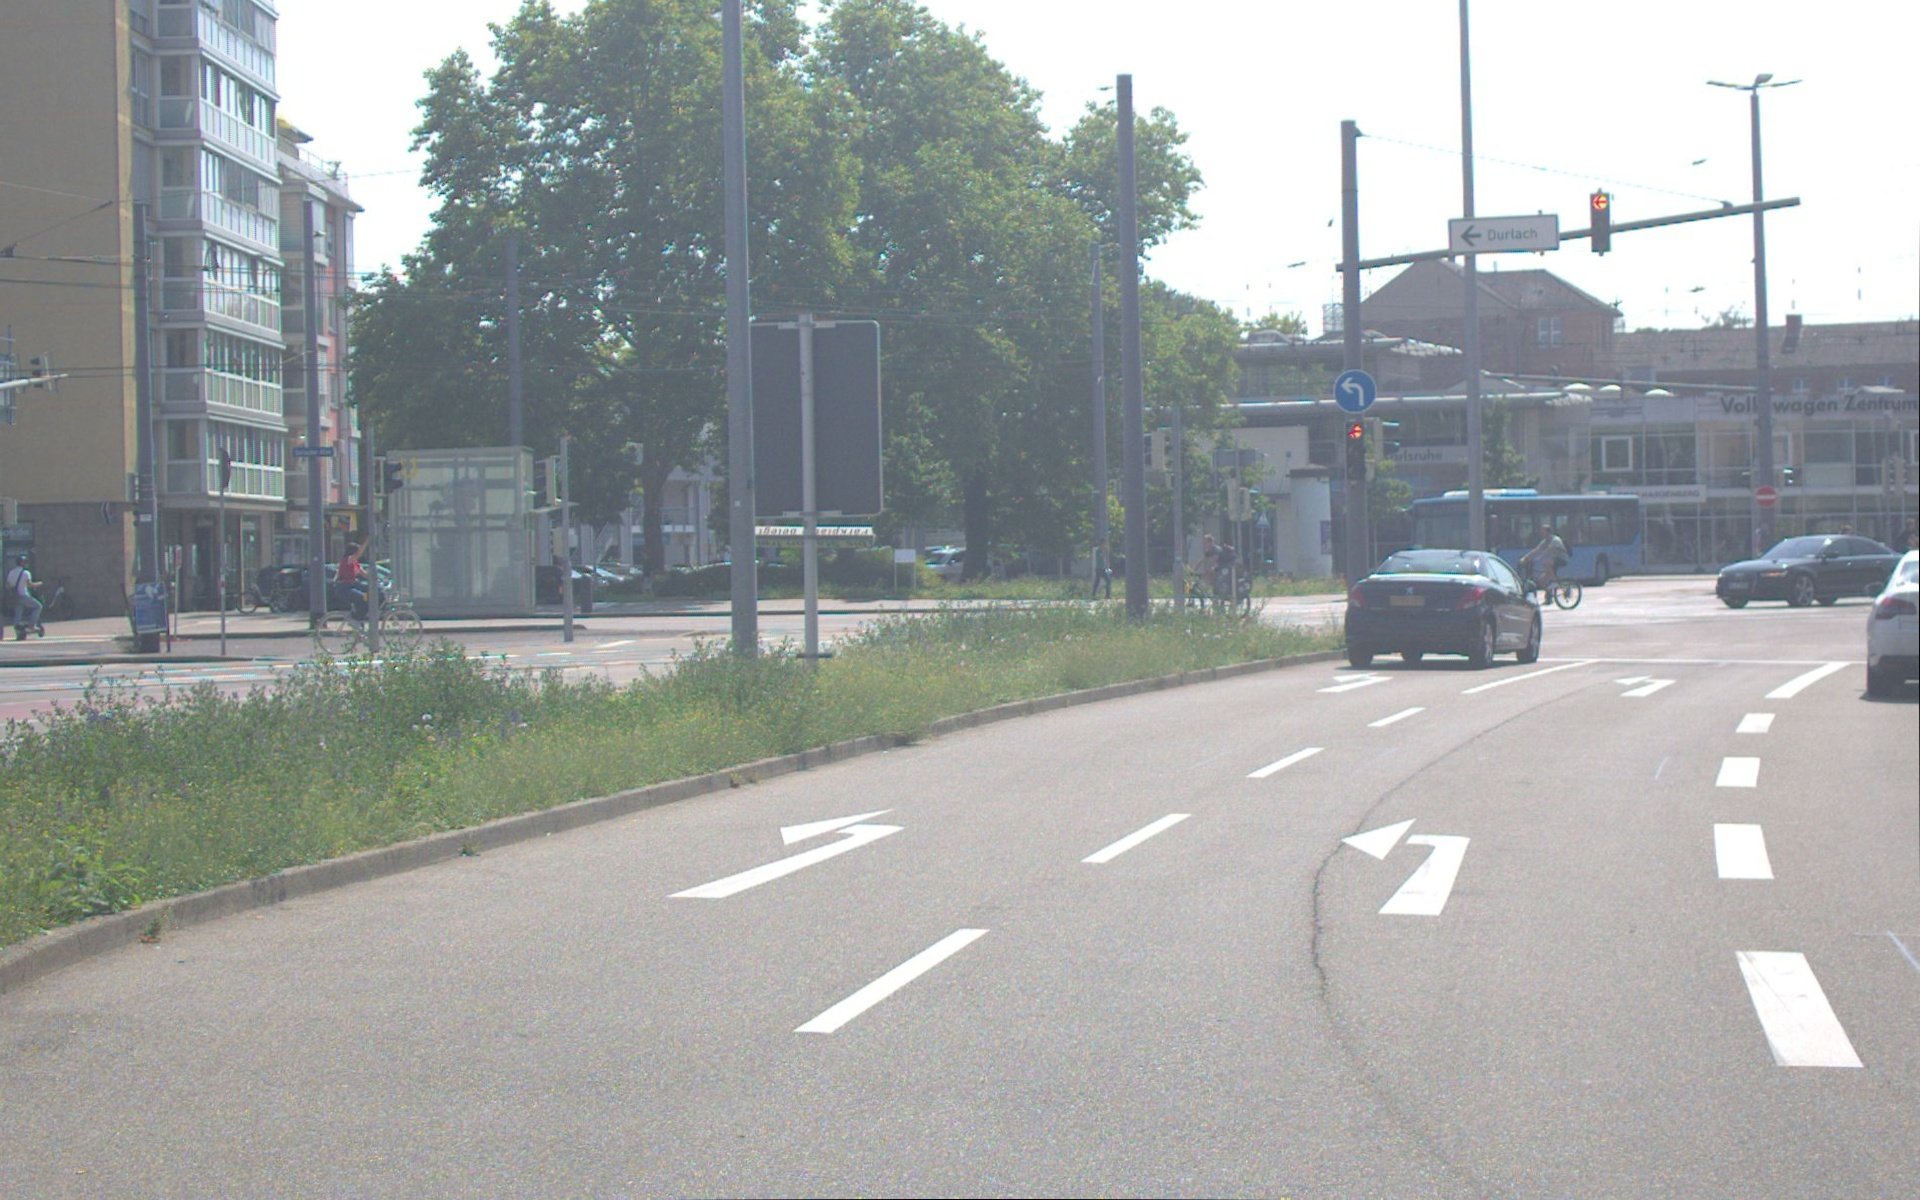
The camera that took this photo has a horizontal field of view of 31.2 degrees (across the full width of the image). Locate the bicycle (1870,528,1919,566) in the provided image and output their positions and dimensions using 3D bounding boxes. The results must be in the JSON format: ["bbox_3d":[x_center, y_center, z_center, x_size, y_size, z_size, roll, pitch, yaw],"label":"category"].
[{"bbox_3d":[25.079,-1.408,91.431,1.594,0.981,0.506,0,1,34],"label":"bicycle"}]

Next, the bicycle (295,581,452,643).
[{"bbox_3d":[-9.496,0.198,55.703,2.409,0.950,0.604,-1,1,0],"label":"bicycle"}]

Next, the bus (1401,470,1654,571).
[{"bbox_3d":[17.709,-2.490,106.362,3.059,2.921,11.830,0,2,34],"label":"bus"}]

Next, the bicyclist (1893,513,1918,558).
[{"bbox_3d":[25.138,-1.724,91.384,0.504,1.184,0.506,0,1,34],"label":"bicyclist"}]

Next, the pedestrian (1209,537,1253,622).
[{"bbox_3d":[4.137,-0.312,52.491,0.595,1.264,0.505,-1,3,-1],"label":"pedestrian"}]

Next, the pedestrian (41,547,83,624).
[{"bbox_3d":[-19.235,-0.306,73.636,0.648,1.627,0.814,-1,1,1],"label":"pedestrian"}]

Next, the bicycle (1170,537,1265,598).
[{"bbox_3d":[5.103,-0.660,68.360,0.972,1.174,2.833,-1,1,-15],"label":"bicycle"}]

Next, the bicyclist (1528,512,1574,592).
[{"bbox_3d":[12.360,-1.001,71.928,0.618,1.644,0.692,-2,1,-39],"label":"bicyclist"}]

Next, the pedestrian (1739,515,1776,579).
[{"bbox_3d":[22.179,-1.470,95.604,0.785,1.746,0.807,0,1,33],"label":"pedestrian"}]

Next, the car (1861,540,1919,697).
[{"bbox_3d":[10.141,0.139,34.687,1.759,1.450,4.422,0,2,18],"label":"car"}]

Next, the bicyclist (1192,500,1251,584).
[{"bbox_3d":[5.171,-1.150,68.087,0.972,1.648,0.663,-1,1,-15],"label":"bicyclist"}]

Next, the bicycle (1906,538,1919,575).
[{"bbox_3d":[26.375,-1.181,92.851,1.592,0.981,0.507,0,1,14],"label":"bicycle"}]

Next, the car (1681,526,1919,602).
[{"bbox_3d":[17.148,-0.736,69.817,4.548,1.433,2.001,-1,1,-21],"label":"car"}]

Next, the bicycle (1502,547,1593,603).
[{"bbox_3d":[12.285,-0.528,71.871,2.038,1.133,0.698,-2,1,-39],"label":"bicycle"}]

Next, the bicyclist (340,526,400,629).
[{"bbox_3d":[-9.557,-0.365,55.705,0.838,1.637,0.607,-1,0,0],"label":"bicyclist"}]

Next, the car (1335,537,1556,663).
[{"bbox_3d":[5.917,-0.039,41.539,1.760,1.399,3.976,0,2,22],"label":"car"}]
